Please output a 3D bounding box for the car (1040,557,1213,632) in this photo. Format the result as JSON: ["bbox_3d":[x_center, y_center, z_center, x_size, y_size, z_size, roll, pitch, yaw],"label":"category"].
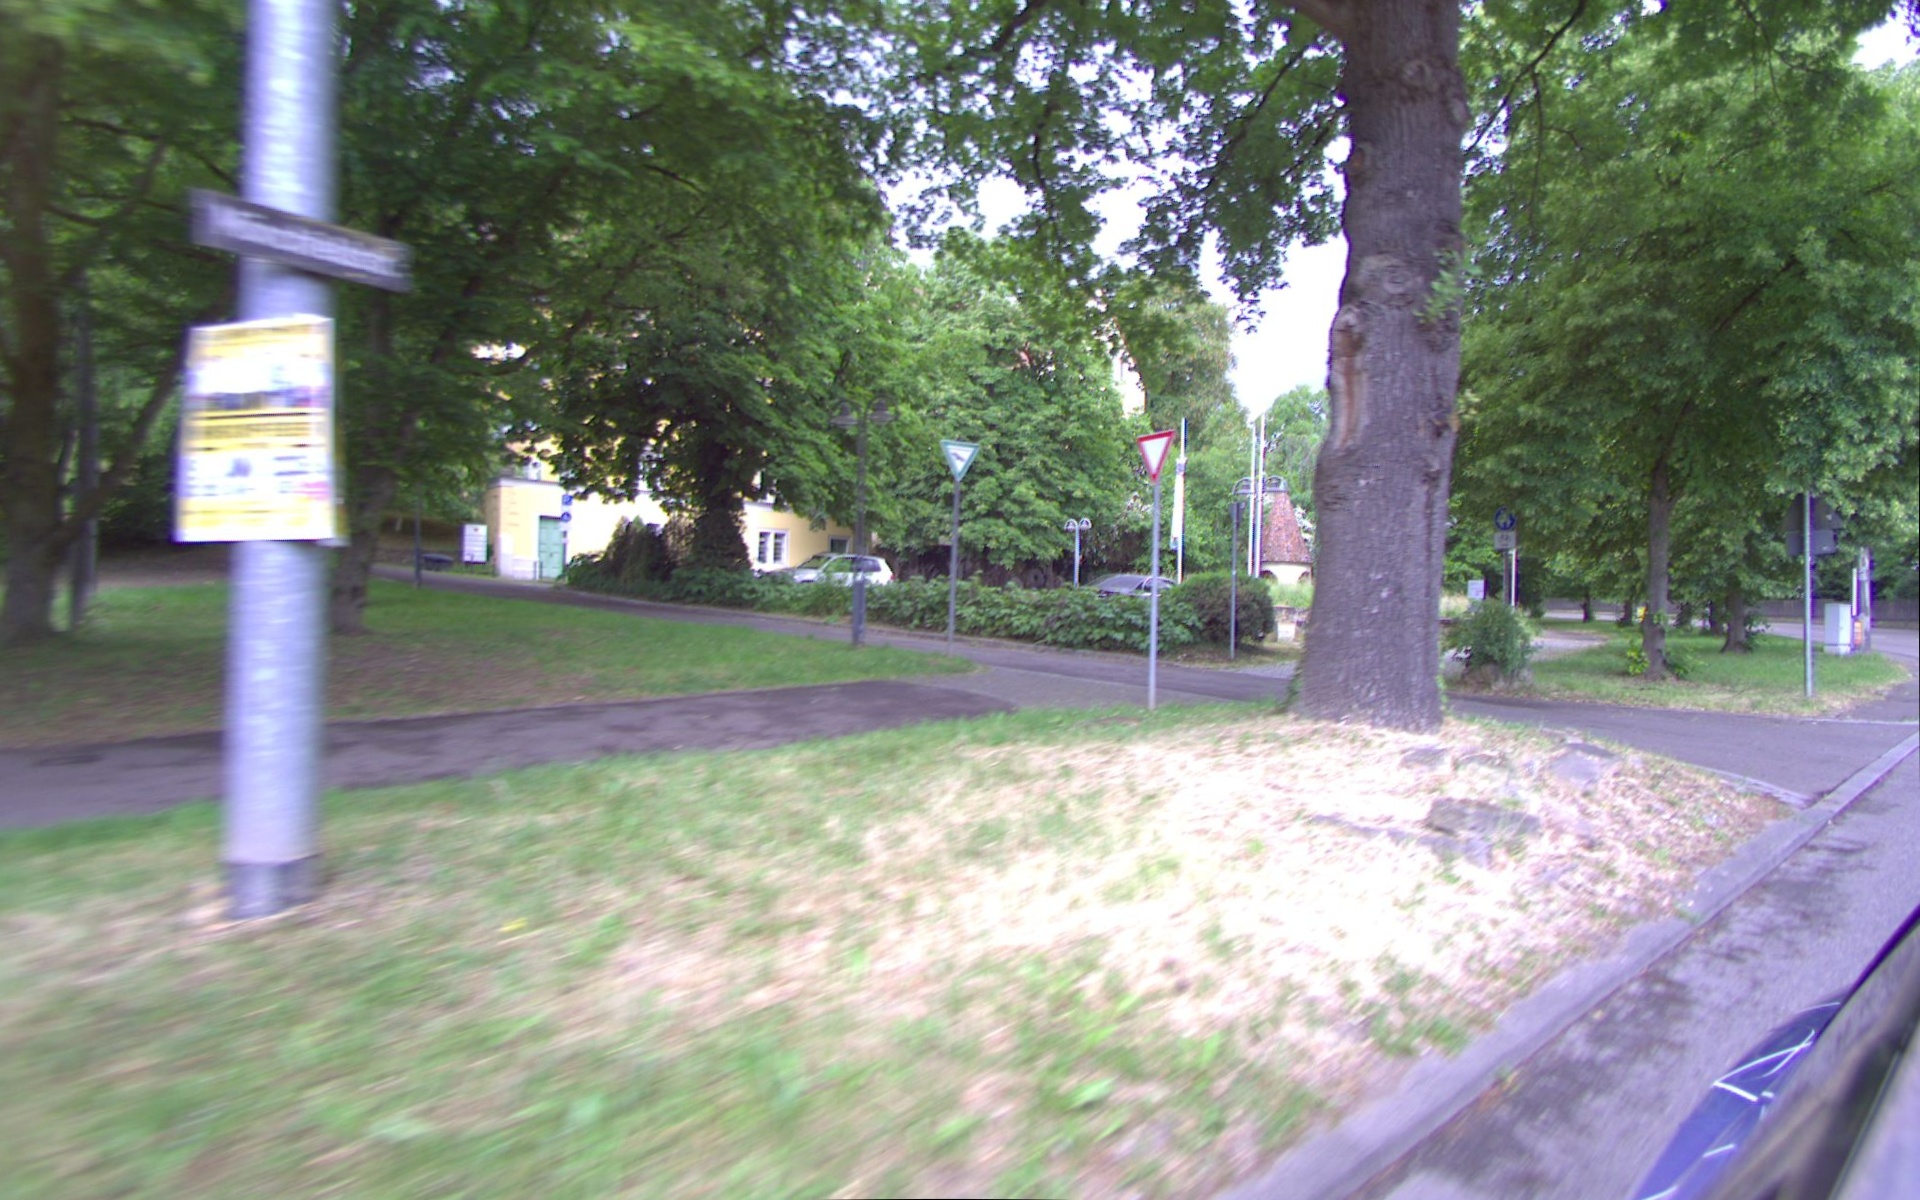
[{"bbox_3d":[3.927,-0.079,23.254,1.905,1.449,4.400,4,0,40],"label":"car"}]

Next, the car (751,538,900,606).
[{"bbox_3d":[-4.033,-0.828,30.550,3.931,1.671,1.998,4,2,-42],"label":"car"}]
